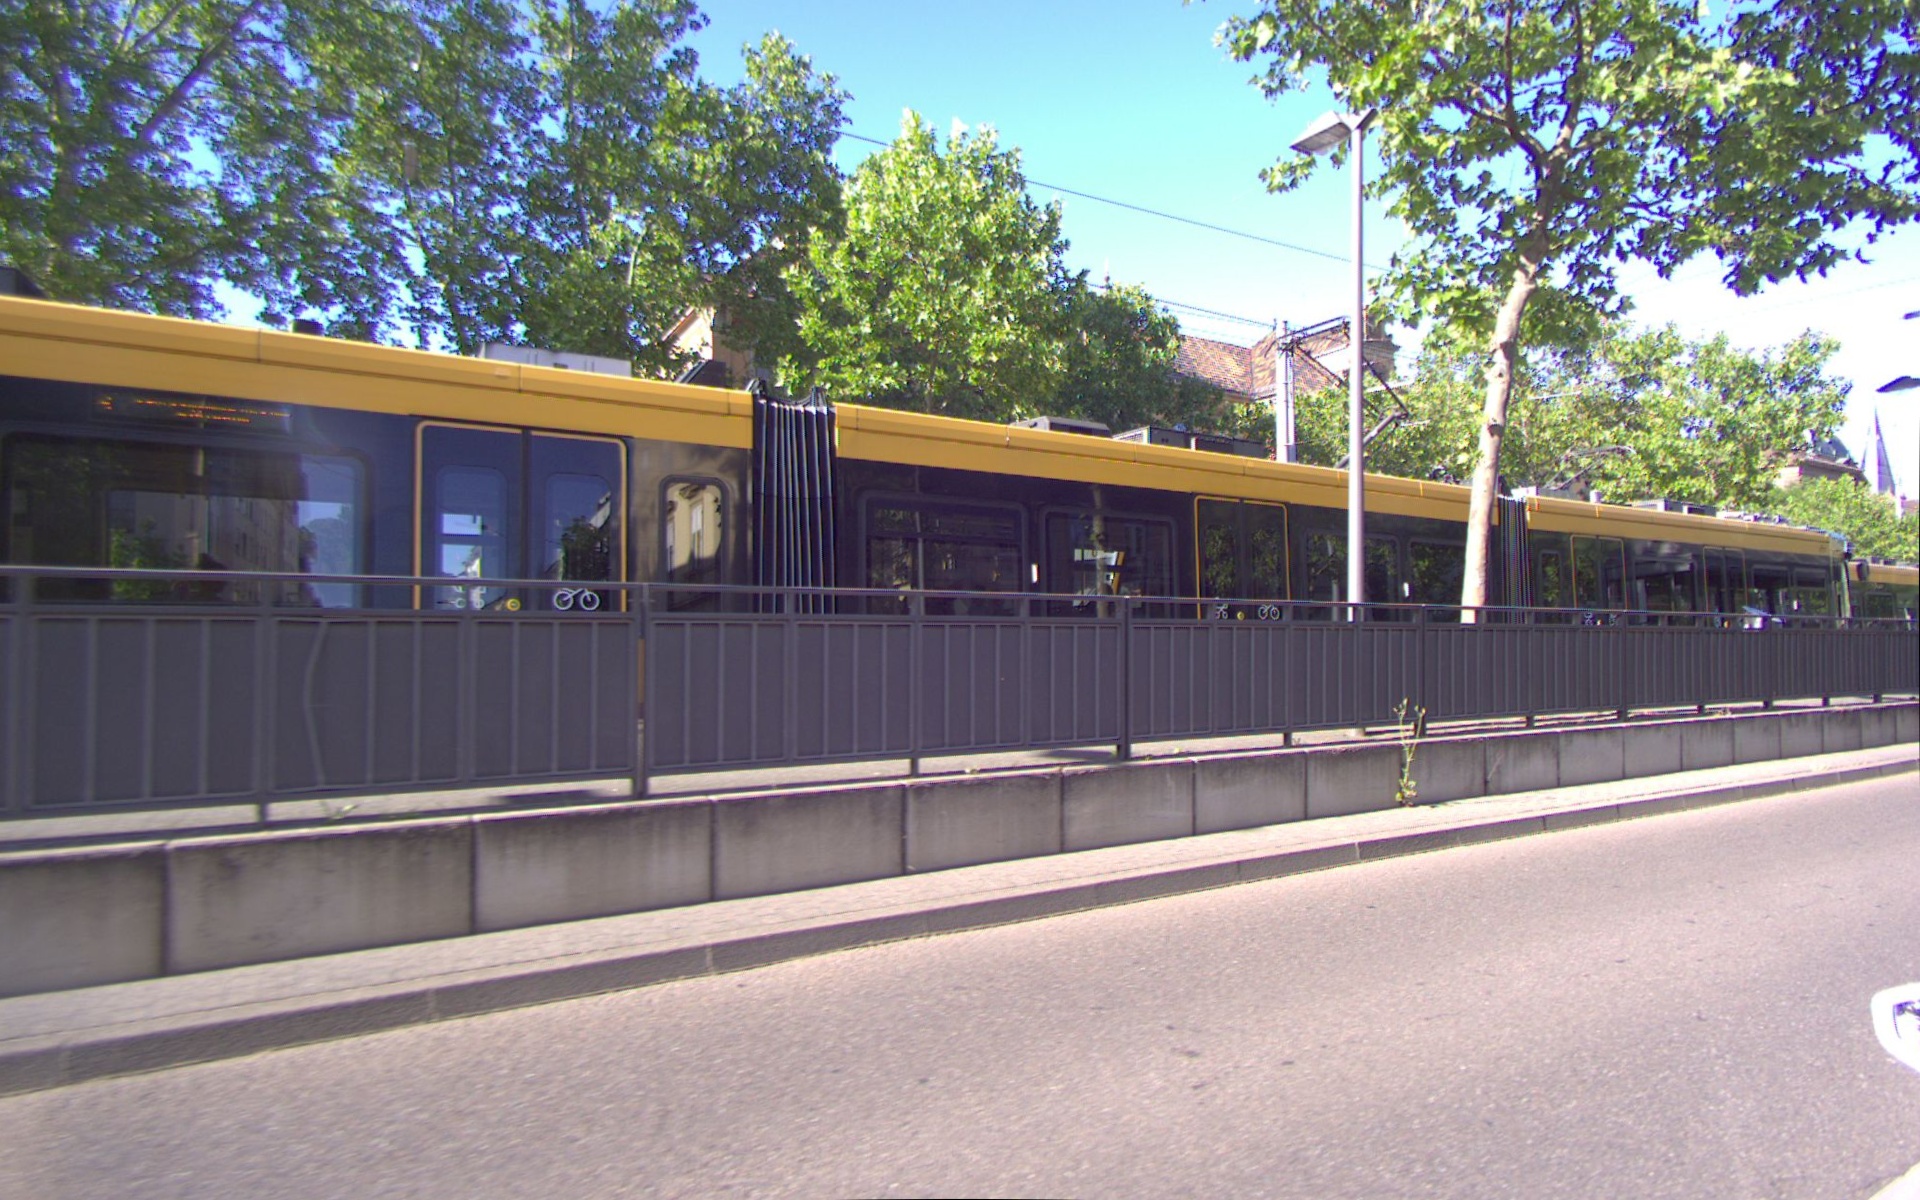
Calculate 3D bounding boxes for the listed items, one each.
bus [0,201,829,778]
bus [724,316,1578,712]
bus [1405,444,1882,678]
[{"bbox_3d":[-7.494,-0.671,6.738,13.060,3.489,2.856,1,-1,-30],"label":"bus"},{"bbox_3d":[3.261,-0.627,13.121,12.069,3.489,2.856,1,-1,-30],"label":"bus"},{"bbox_3d":[13.410,-0.456,19.141,11.473,3.489,2.856,1,-1,-30],"label":"bus"}]
